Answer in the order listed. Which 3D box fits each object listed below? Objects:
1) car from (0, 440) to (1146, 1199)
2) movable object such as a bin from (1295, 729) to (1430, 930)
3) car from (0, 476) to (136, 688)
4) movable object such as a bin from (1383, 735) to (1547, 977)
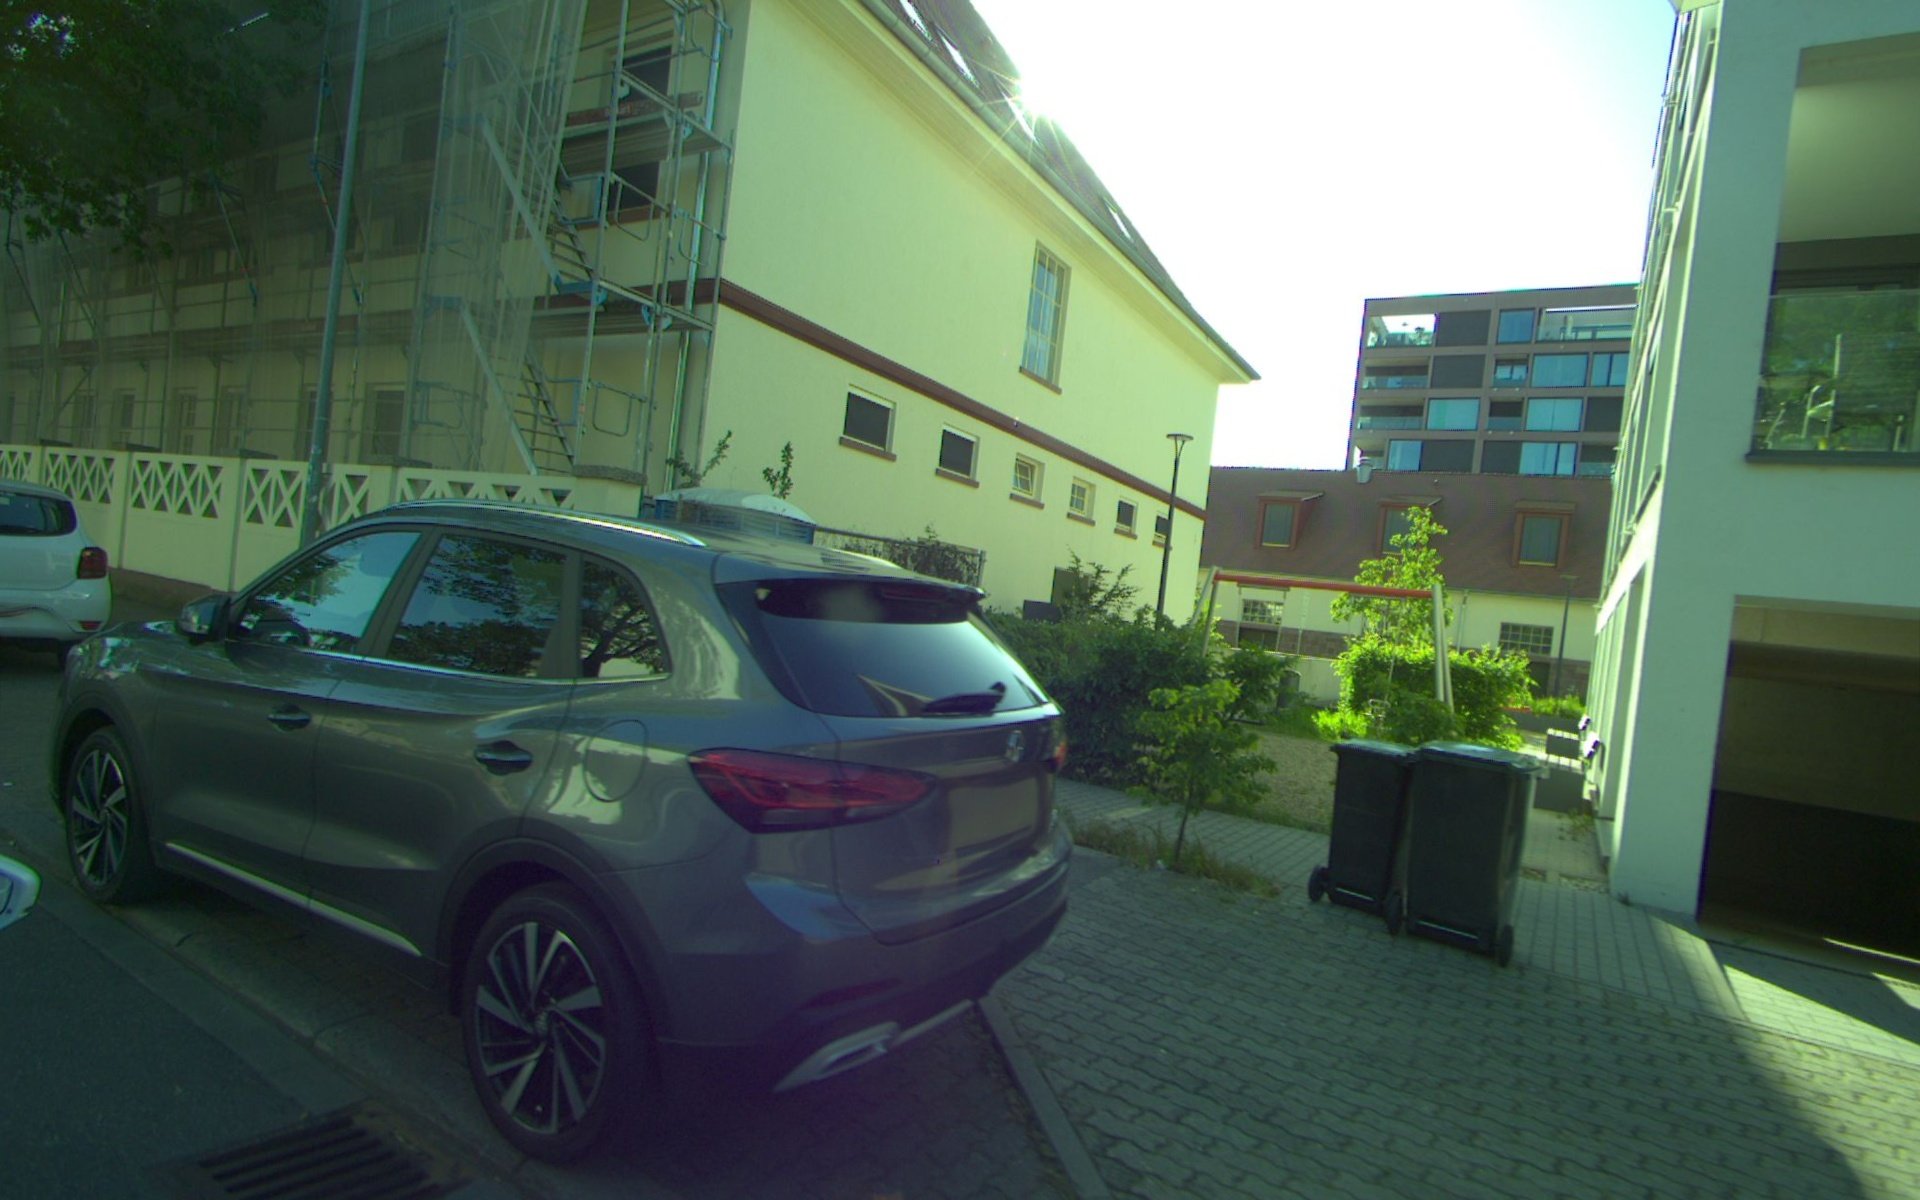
[{"bbox_3d":[-1.697,0.463,3.759,4.230,1.659,1.714,7,1,30],"label":"car"},{"bbox_3d":[2.240,1.245,5.596,0.503,0.975,0.434,7,-1,36],"label":"movable object such as a bin"},{"bbox_3d":[-8.699,-0.327,8.438,3.928,1.530,1.723,8,2,35],"label":"car"},{"bbox_3d":[2.571,1.251,5.112,0.555,1.039,0.598,7,-1,35],"label":"movable object such as a bin"}]
